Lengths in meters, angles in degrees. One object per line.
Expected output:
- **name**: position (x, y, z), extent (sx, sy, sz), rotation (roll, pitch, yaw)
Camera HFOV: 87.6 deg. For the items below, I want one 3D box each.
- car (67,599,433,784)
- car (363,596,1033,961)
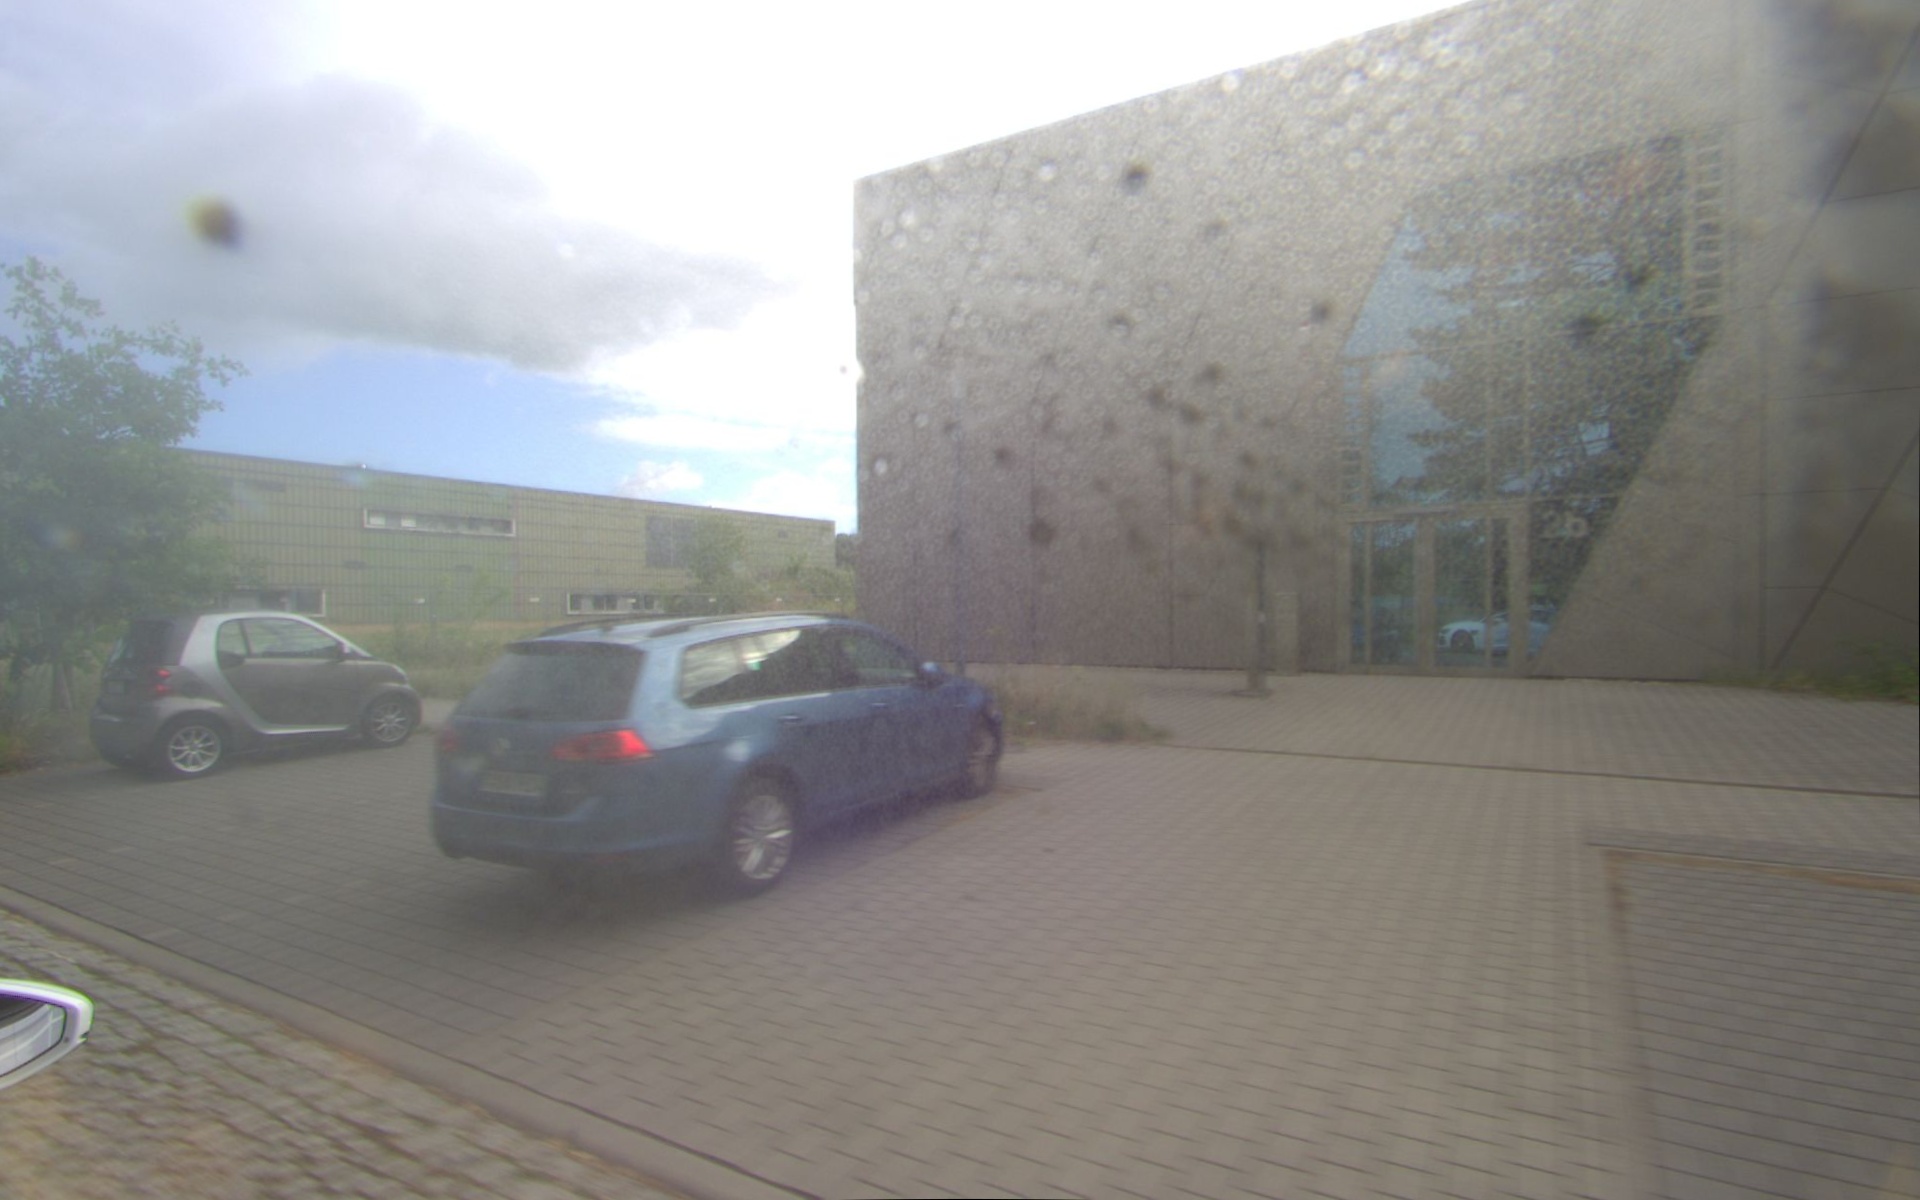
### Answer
- **car**: position (-7.378, 0.830, 10.596), extent (1.630, 1.578, 2.703), rotation (0, 2, 32)
- **car**: position (-1.261, 0.789, 6.807), extent (1.802, 1.495, 4.484), rotation (0, 2, 29)
